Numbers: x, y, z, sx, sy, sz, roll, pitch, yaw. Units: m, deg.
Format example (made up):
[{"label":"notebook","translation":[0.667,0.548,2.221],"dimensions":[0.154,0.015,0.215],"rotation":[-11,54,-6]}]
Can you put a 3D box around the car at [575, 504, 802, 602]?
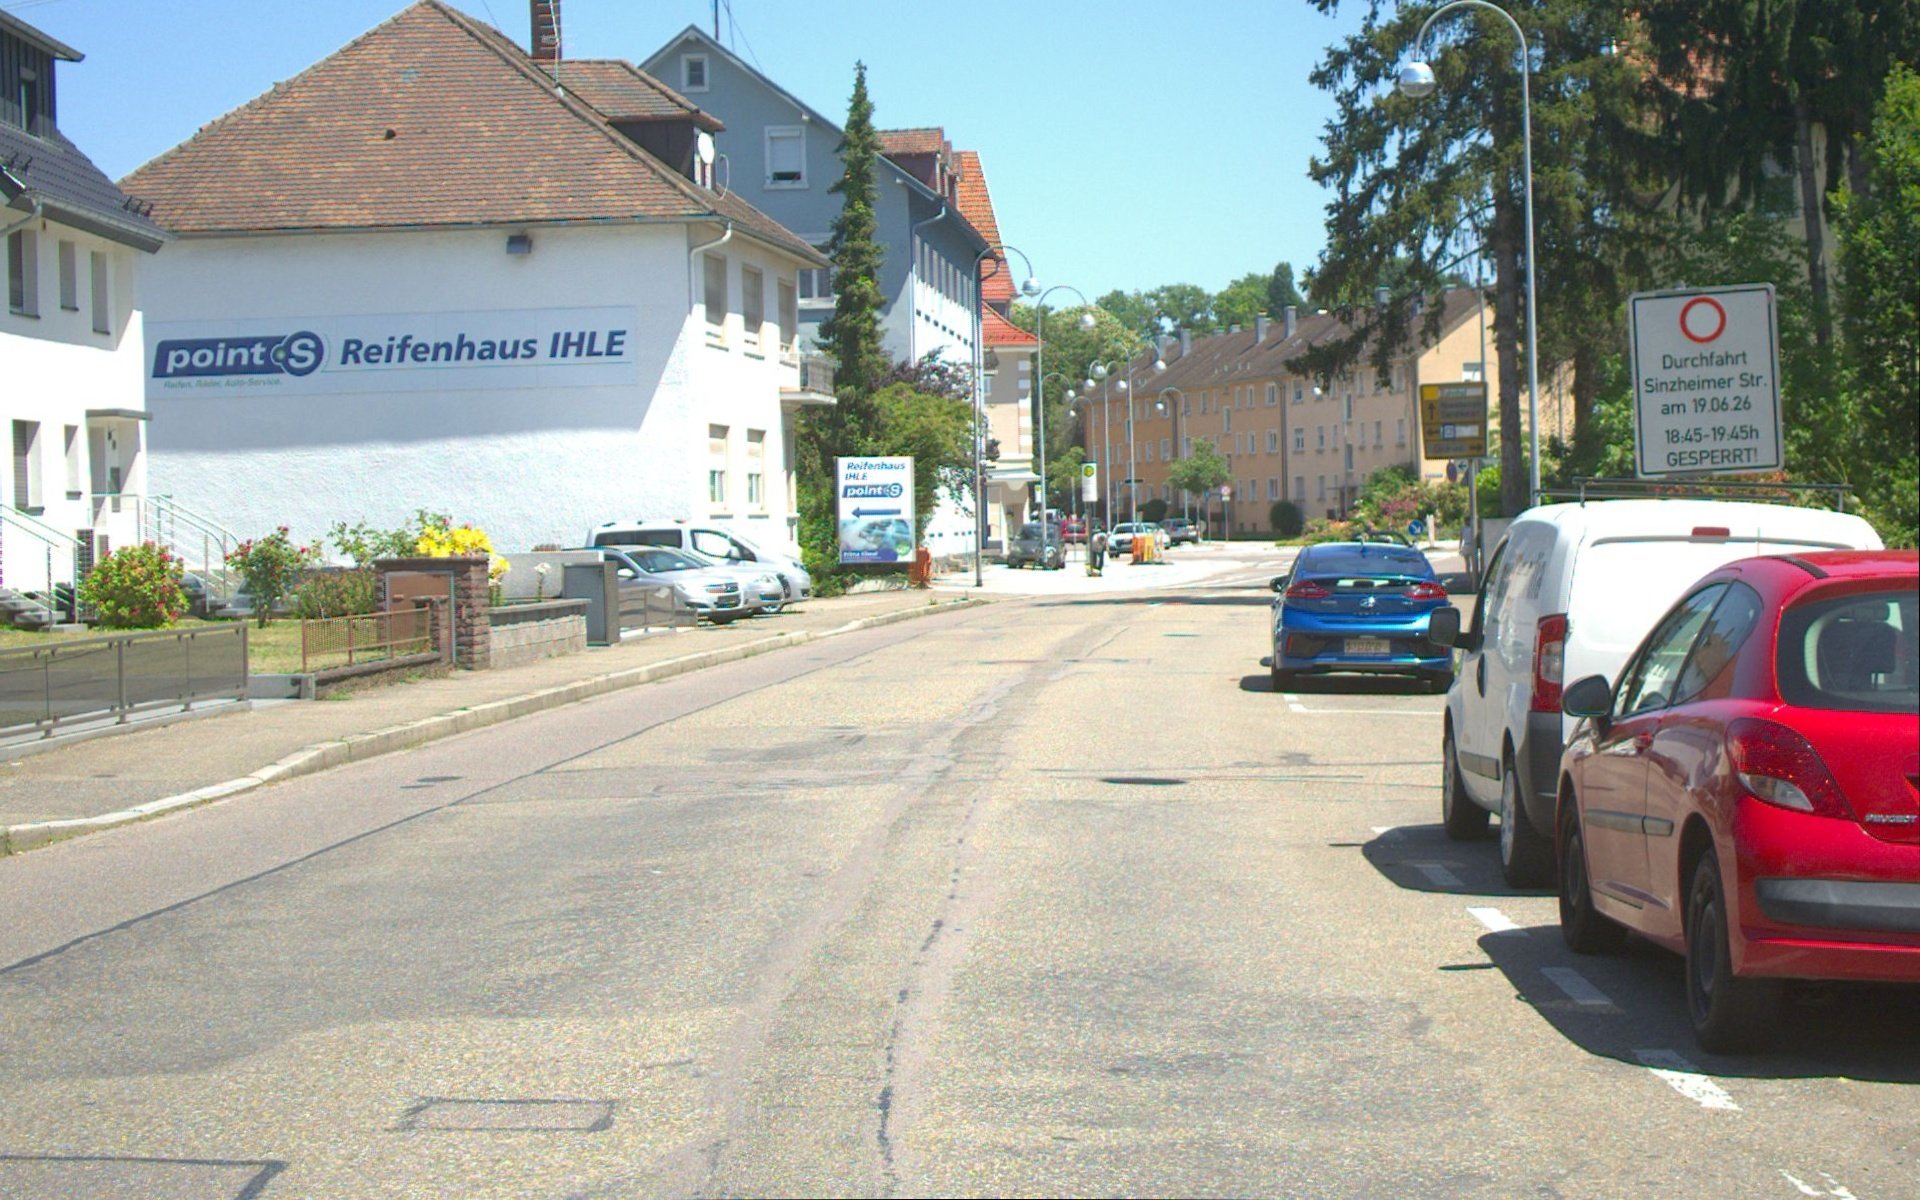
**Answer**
[{"label":"car","translation":[-5.152,-0.909,65.598],"dimensions":[4.128,1.768,1.829],"rotation":[-1,2,1]}]

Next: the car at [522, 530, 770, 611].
[{"label":"car","translation":[-5.517,-0.521,60.151],"dimensions":[4.138,1.339,1.907],"rotation":[0,2,39]}]

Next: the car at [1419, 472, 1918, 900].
[{"label":"car","translation":[3.232,0.343,16.402],"dimensions":[1.664,1.749,4.000],"rotation":[1,0,2]}]

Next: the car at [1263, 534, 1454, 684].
[{"label":"car","translation":[4.039,0.045,35.392],"dimensions":[1.778,1.400,4.286],"rotation":[1,1,5]}]

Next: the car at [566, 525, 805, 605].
[{"label":"car","translation":[-5.025,-0.652,63.181],"dimensions":[4.129,1.389,1.828],"rotation":[-1,2,4]}]

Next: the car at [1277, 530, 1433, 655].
[{"label":"car","translation":[4.784,-0.133,42.037],"dimensions":[1.725,1.414,4.013],"rotation":[1,1,5]}]

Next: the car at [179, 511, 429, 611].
[{"label":"car","translation":[-10.477,-0.650,54.793],"dimensions":[3.996,1.505,1.796],"rotation":[1,3,41]}]

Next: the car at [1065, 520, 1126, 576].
[{"label":"car","translation":[4.240,-1.640,107.436],"dimensions":[1.757,1.650,4.000],"rotation":[-1,2,4]}]

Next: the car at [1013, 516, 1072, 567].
[{"label":"car","translation":[2.786,-1.971,115.392],"dimensions":[1.757,1.650,4.000],"rotation":[0,1,4]}]

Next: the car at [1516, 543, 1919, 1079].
[{"label":"car","translation":[2.962,0.555,11.371],"dimensions":[1.664,1.450,4.000],"rotation":[1,1,1]}]

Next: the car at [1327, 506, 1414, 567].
[{"label":"car","translation":[10.538,-1.644,88.081],"dimensions":[1.795,1.505,3.998],"rotation":[0,2,13]}]

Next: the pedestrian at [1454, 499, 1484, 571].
[{"label":"pedestrian","translation":[12.452,-1.584,84.049],"dimensions":[0.689,1.764,0.691],"rotation":[0,0,11]}]

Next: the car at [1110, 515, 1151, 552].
[{"label":"car","translation":[7.567,-2.961,152.927],"dimensions":[1.595,1.601,3.411],"rotation":[0,1,-1]}]
